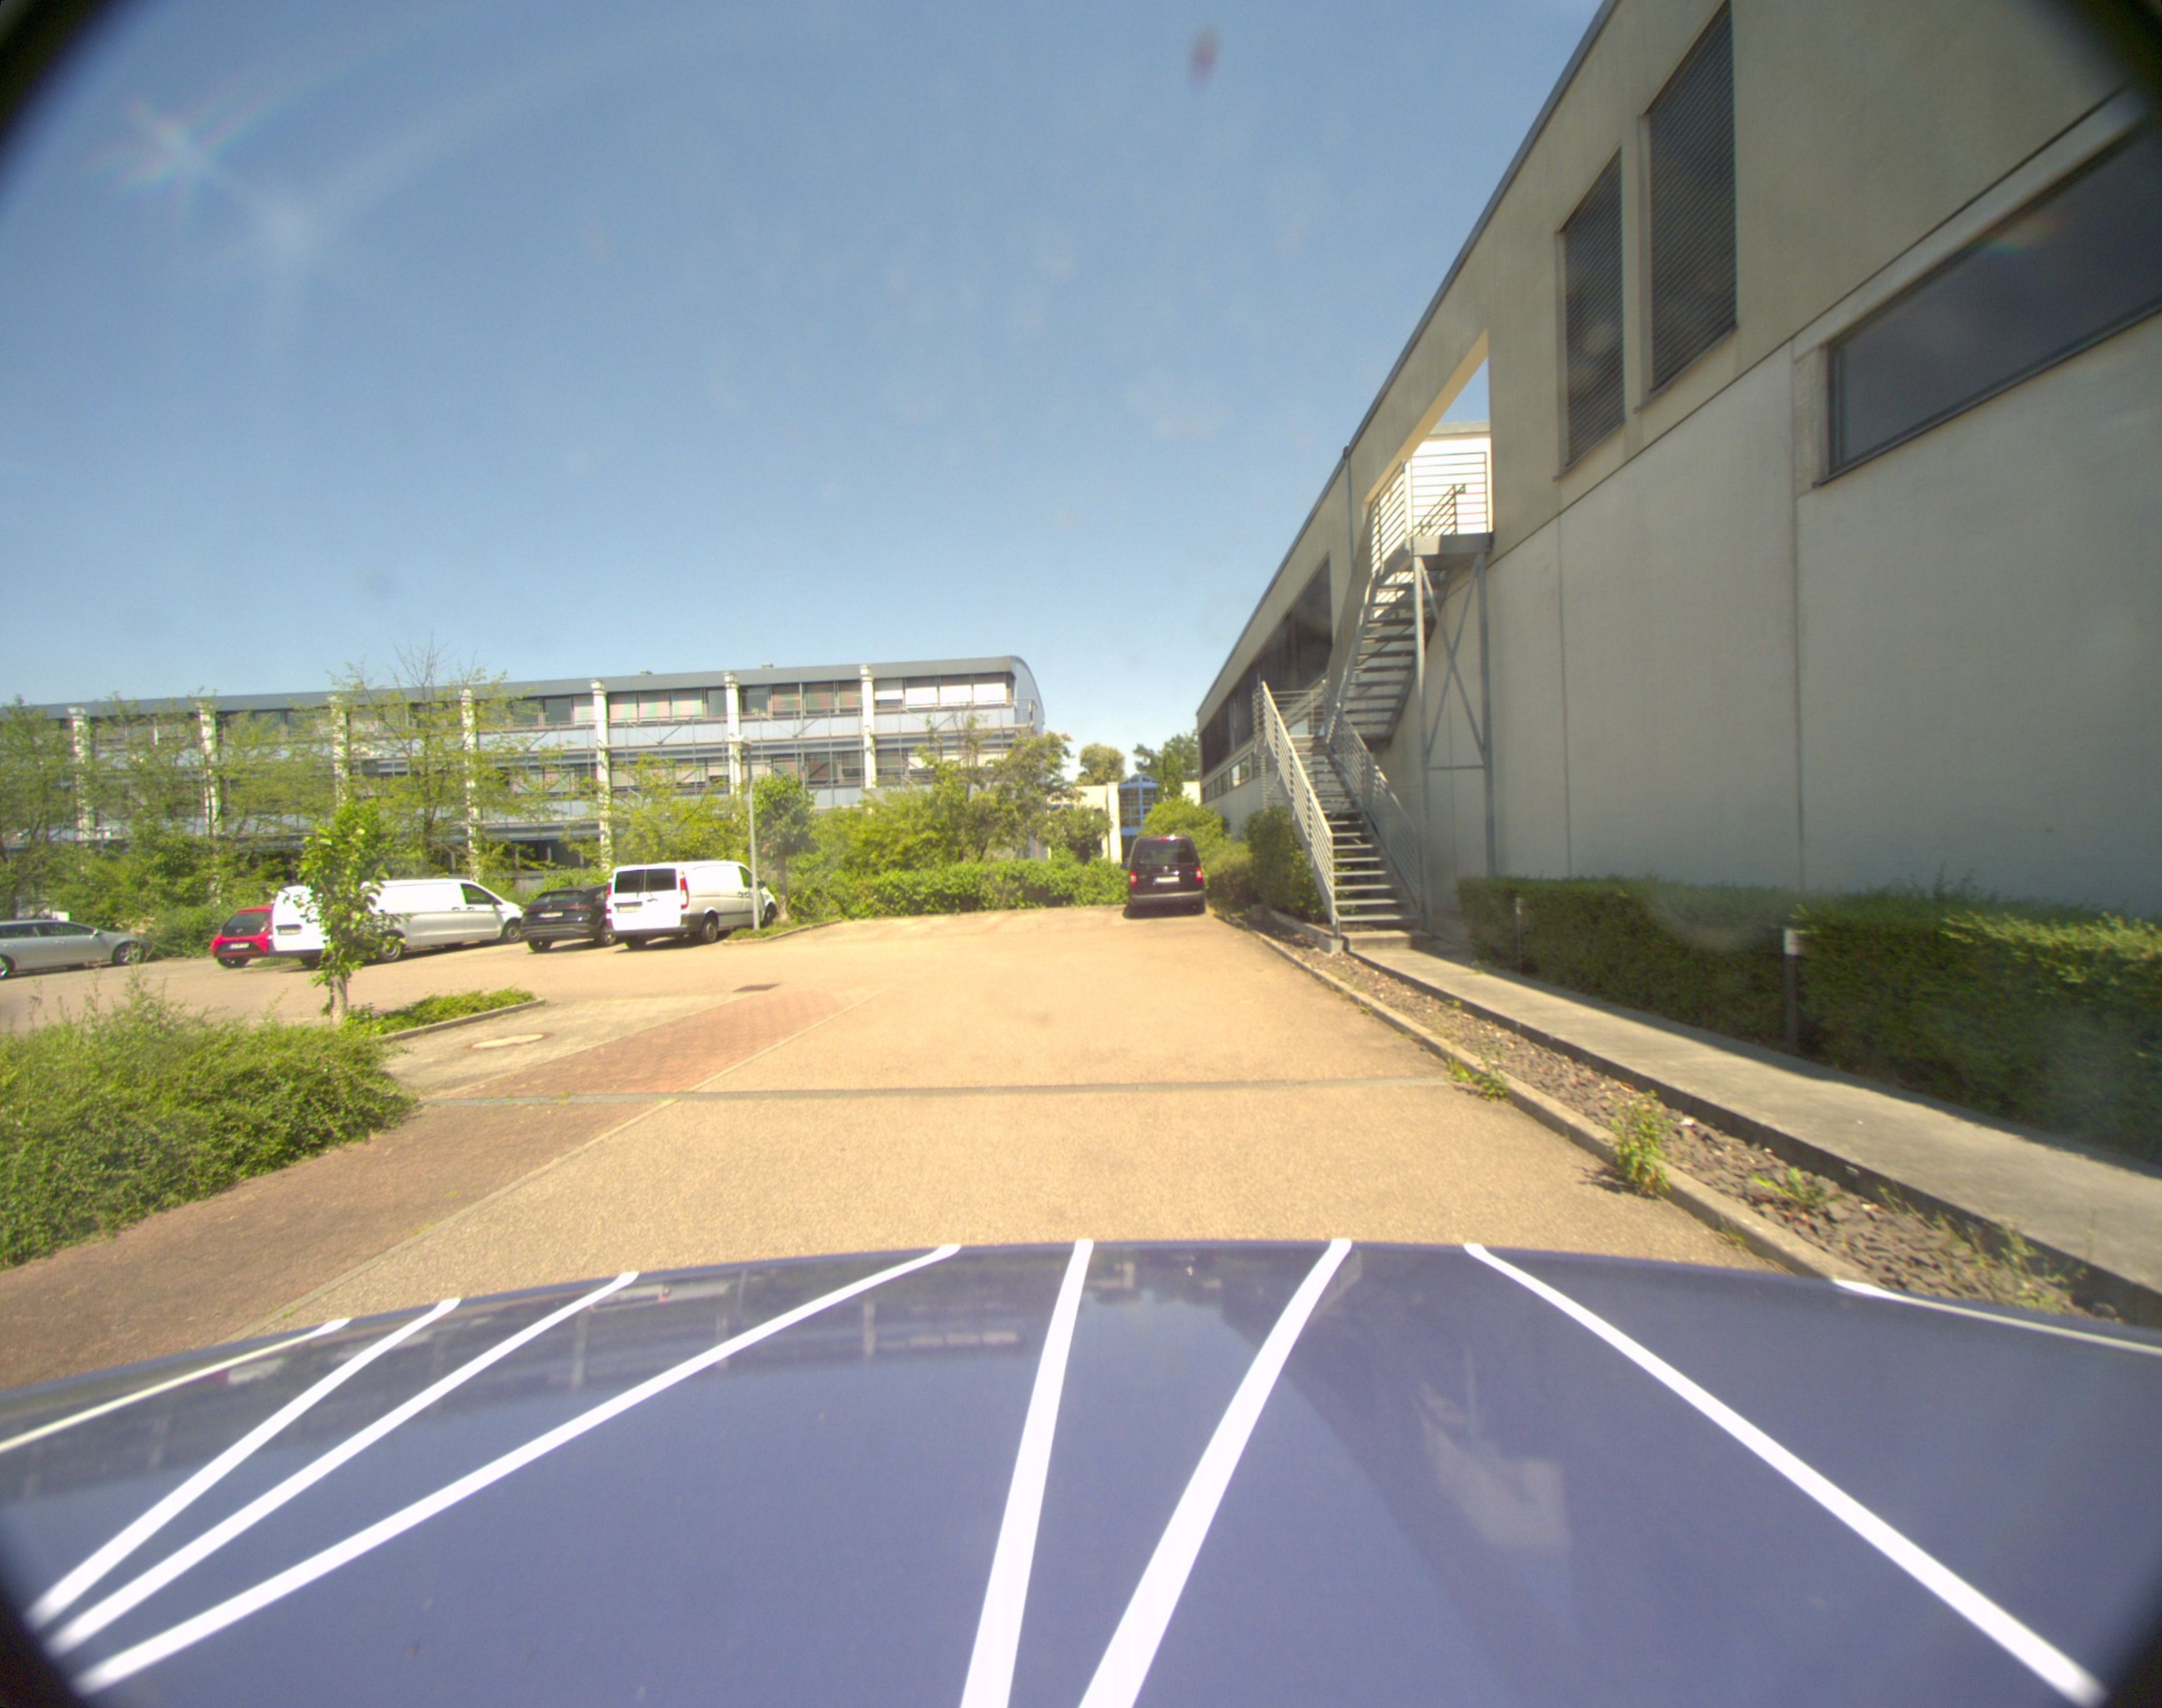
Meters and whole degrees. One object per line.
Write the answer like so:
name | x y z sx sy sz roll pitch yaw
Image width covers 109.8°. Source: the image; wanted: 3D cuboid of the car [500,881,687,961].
car | -11.912 1.569 18.963 1.738 1.475 4.198 -4 1 2

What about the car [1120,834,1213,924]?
car | 1.969 0.529 18.683 1.867 1.849 4.229 -4 1 2

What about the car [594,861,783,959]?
car | -9.205 1.208 18.376 1.867 1.849 4.677 -4 1 2

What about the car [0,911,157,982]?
car | -27.434 2.456 19.677 1.738 1.475 4.086 -4 1 5

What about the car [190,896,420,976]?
car | -19.701 2.021 19.575 1.623 1.479 3.922 -4 1 4

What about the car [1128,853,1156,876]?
car | 4.851 0.799 61.306 1.836 1.558 3.998 -3 2 0

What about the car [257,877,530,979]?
car | -16.452 1.655 18.660 1.855 1.845 4.936 -4 1 4
